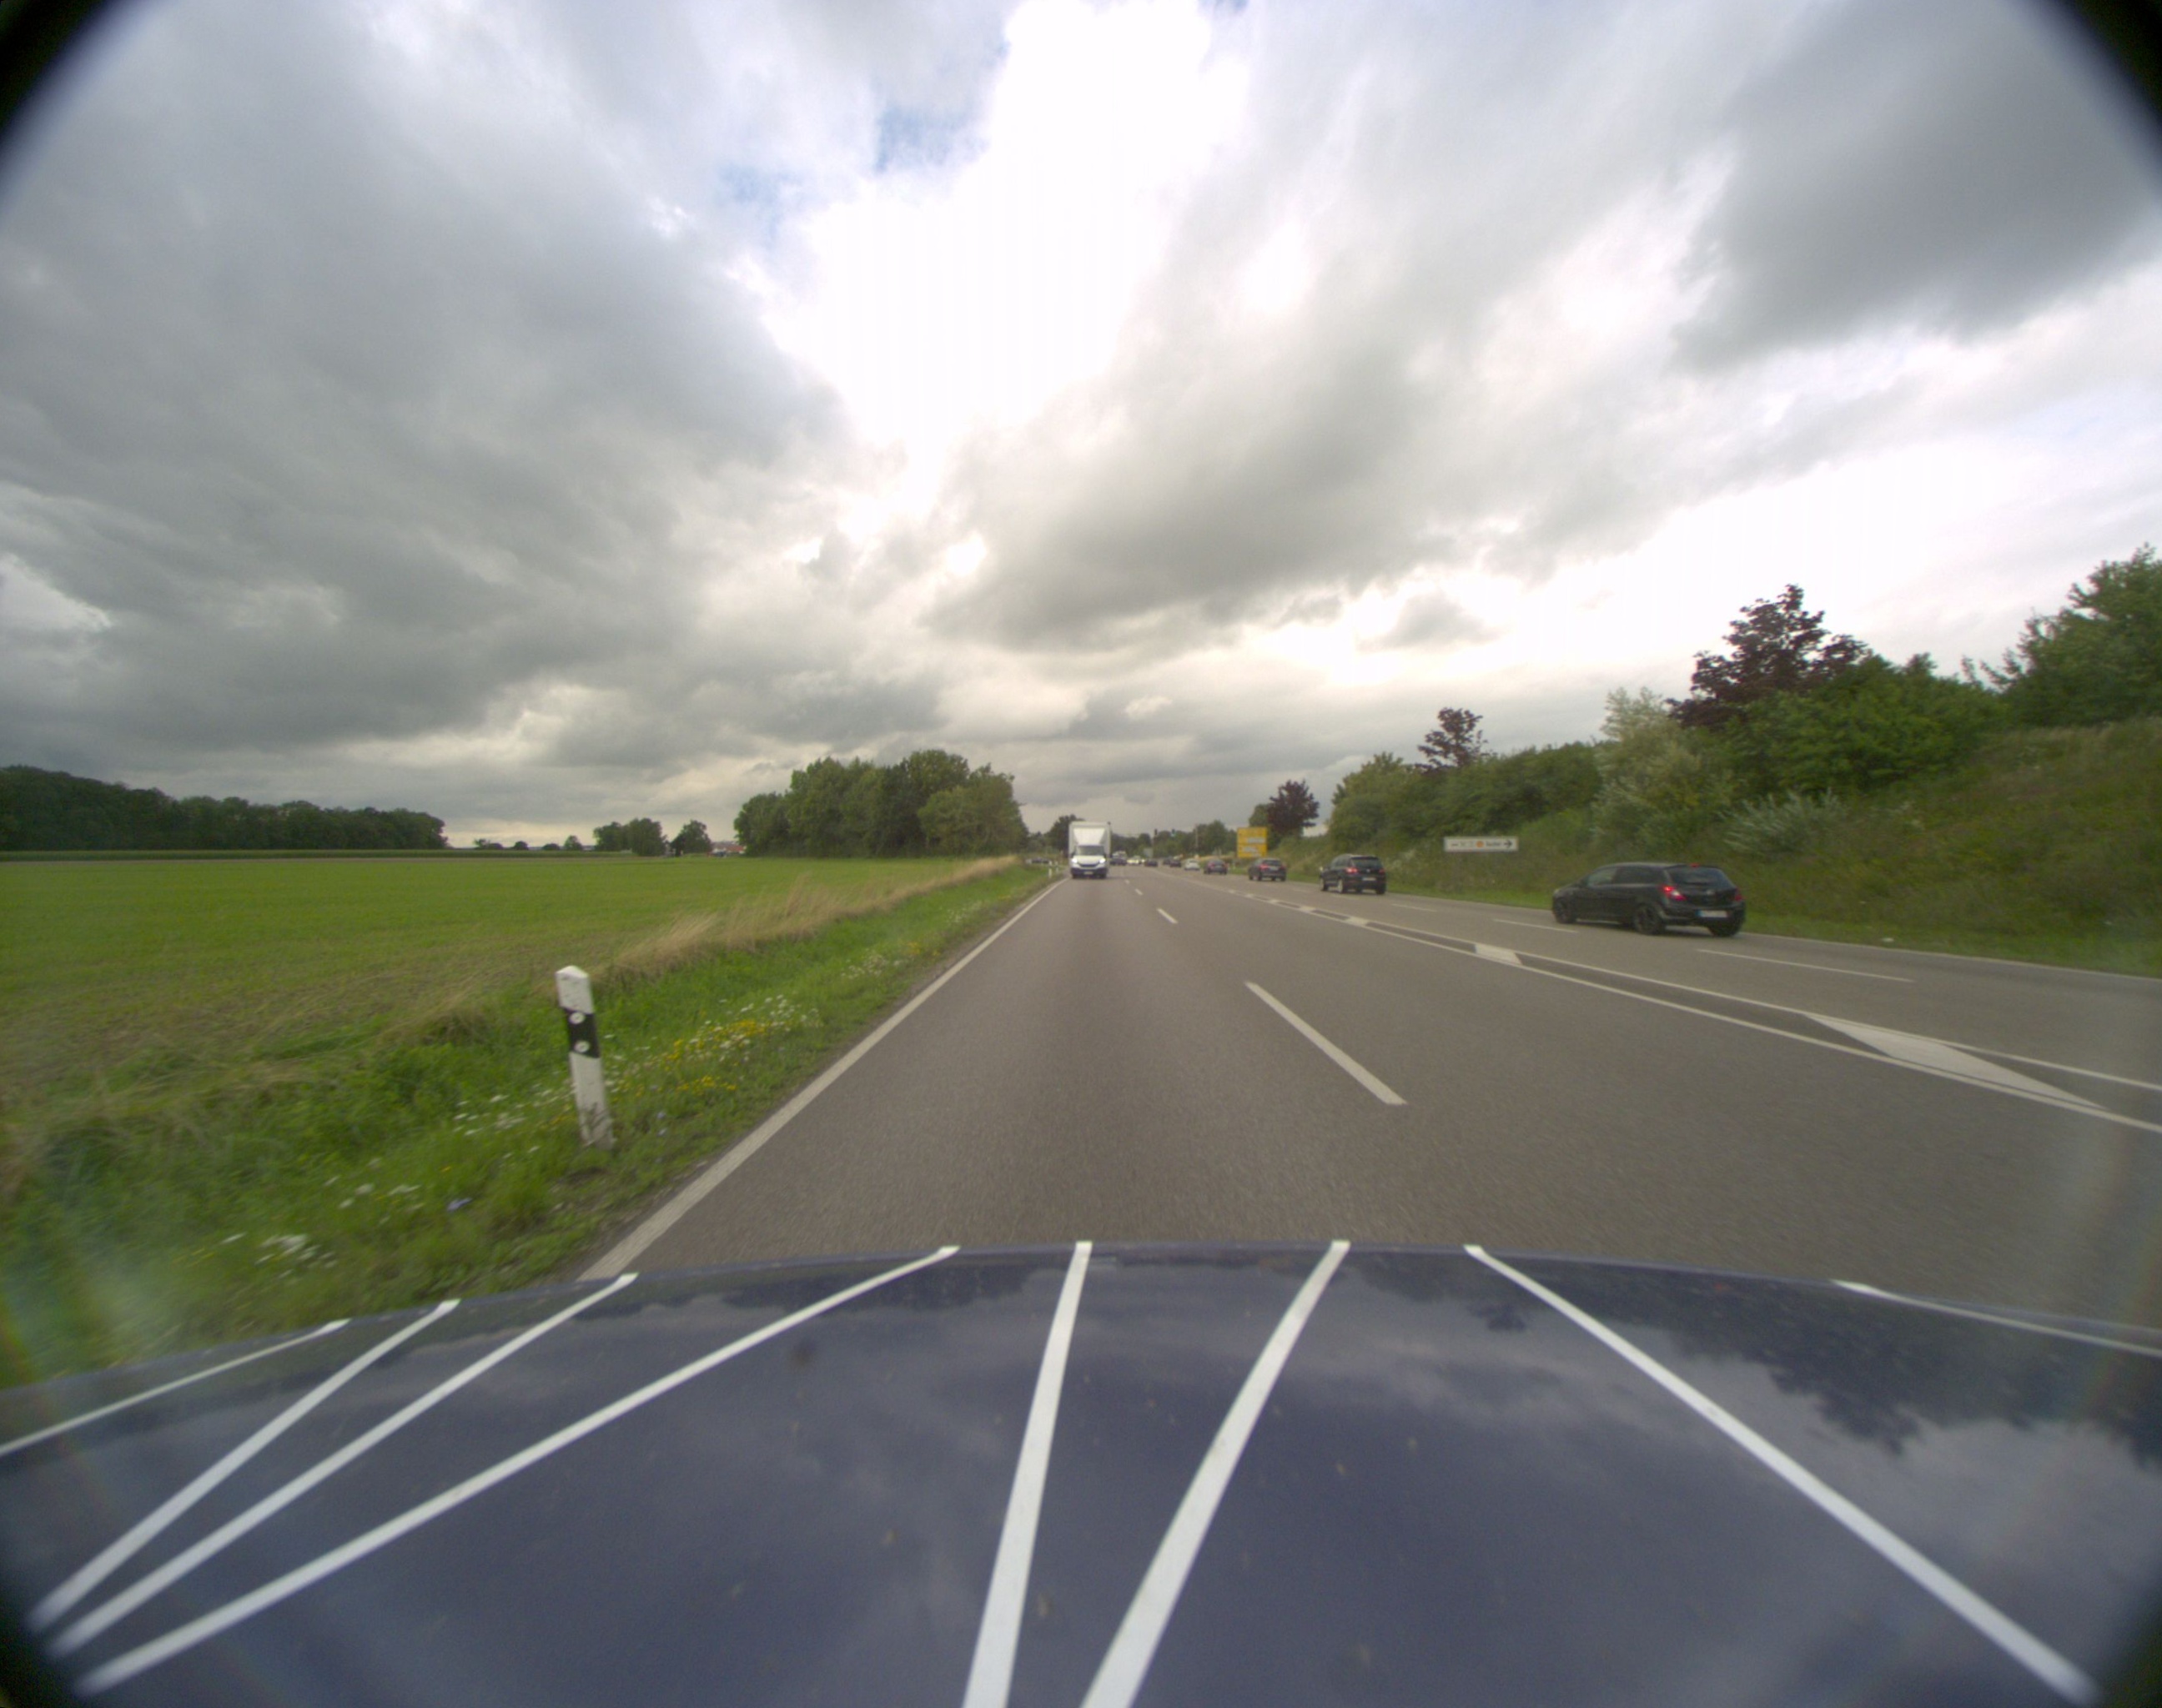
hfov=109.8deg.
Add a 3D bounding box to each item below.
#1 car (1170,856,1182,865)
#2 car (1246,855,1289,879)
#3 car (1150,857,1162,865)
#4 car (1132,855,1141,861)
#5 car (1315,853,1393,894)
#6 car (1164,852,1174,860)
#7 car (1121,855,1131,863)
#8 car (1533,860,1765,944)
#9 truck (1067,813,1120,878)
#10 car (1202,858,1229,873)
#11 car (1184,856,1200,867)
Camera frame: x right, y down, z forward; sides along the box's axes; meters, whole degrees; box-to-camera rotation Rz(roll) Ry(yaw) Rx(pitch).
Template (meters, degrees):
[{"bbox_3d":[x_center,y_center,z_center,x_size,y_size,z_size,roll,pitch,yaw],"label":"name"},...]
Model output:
[{"bbox_3d":[16.498,1.156,131.580,1.727,1.472,4.660,1,0,4],"label":"car"},{"bbox_3d":[12.484,0.863,51.083,1.798,1.502,4.706,1,0,1],"label":"car"},{"bbox_3d":[12.794,1.179,130.060,1.860,1.399,4.186,1,0,4],"label":"car"},{"bbox_3d":[11.606,0.822,158.782,1.860,1.274,4.001,1,0,4],"label":"car"},{"bbox_3d":[11.772,0.798,33.109,1.798,1.624,4.516,1,0,1],"label":"car"},{"bbox_3d":[20.656,0.438,178.108,1.855,1.706,4.129,-1,0,2],"label":"car"},{"bbox_3d":[8.324,0.949,139.910,1.860,1.440,4.001,1,0,4],"label":"car"},{"bbox_3d":[11.771,0.910,16.166,1.737,1.521,4.193,0,0,-1],"label":"car"},{"bbox_3d":[0.666,-0.470,47.626,2.934,3.652,8.442,-1,0,-1],"label":"truck"},{"bbox_3d":[13.079,1.091,73.967,1.798,1.397,4.706,2,0,1],"label":"car"},{"bbox_3d":[14.641,0.961,100.195,1.612,1.406,4.056,0,0,1],"label":"car"}]
